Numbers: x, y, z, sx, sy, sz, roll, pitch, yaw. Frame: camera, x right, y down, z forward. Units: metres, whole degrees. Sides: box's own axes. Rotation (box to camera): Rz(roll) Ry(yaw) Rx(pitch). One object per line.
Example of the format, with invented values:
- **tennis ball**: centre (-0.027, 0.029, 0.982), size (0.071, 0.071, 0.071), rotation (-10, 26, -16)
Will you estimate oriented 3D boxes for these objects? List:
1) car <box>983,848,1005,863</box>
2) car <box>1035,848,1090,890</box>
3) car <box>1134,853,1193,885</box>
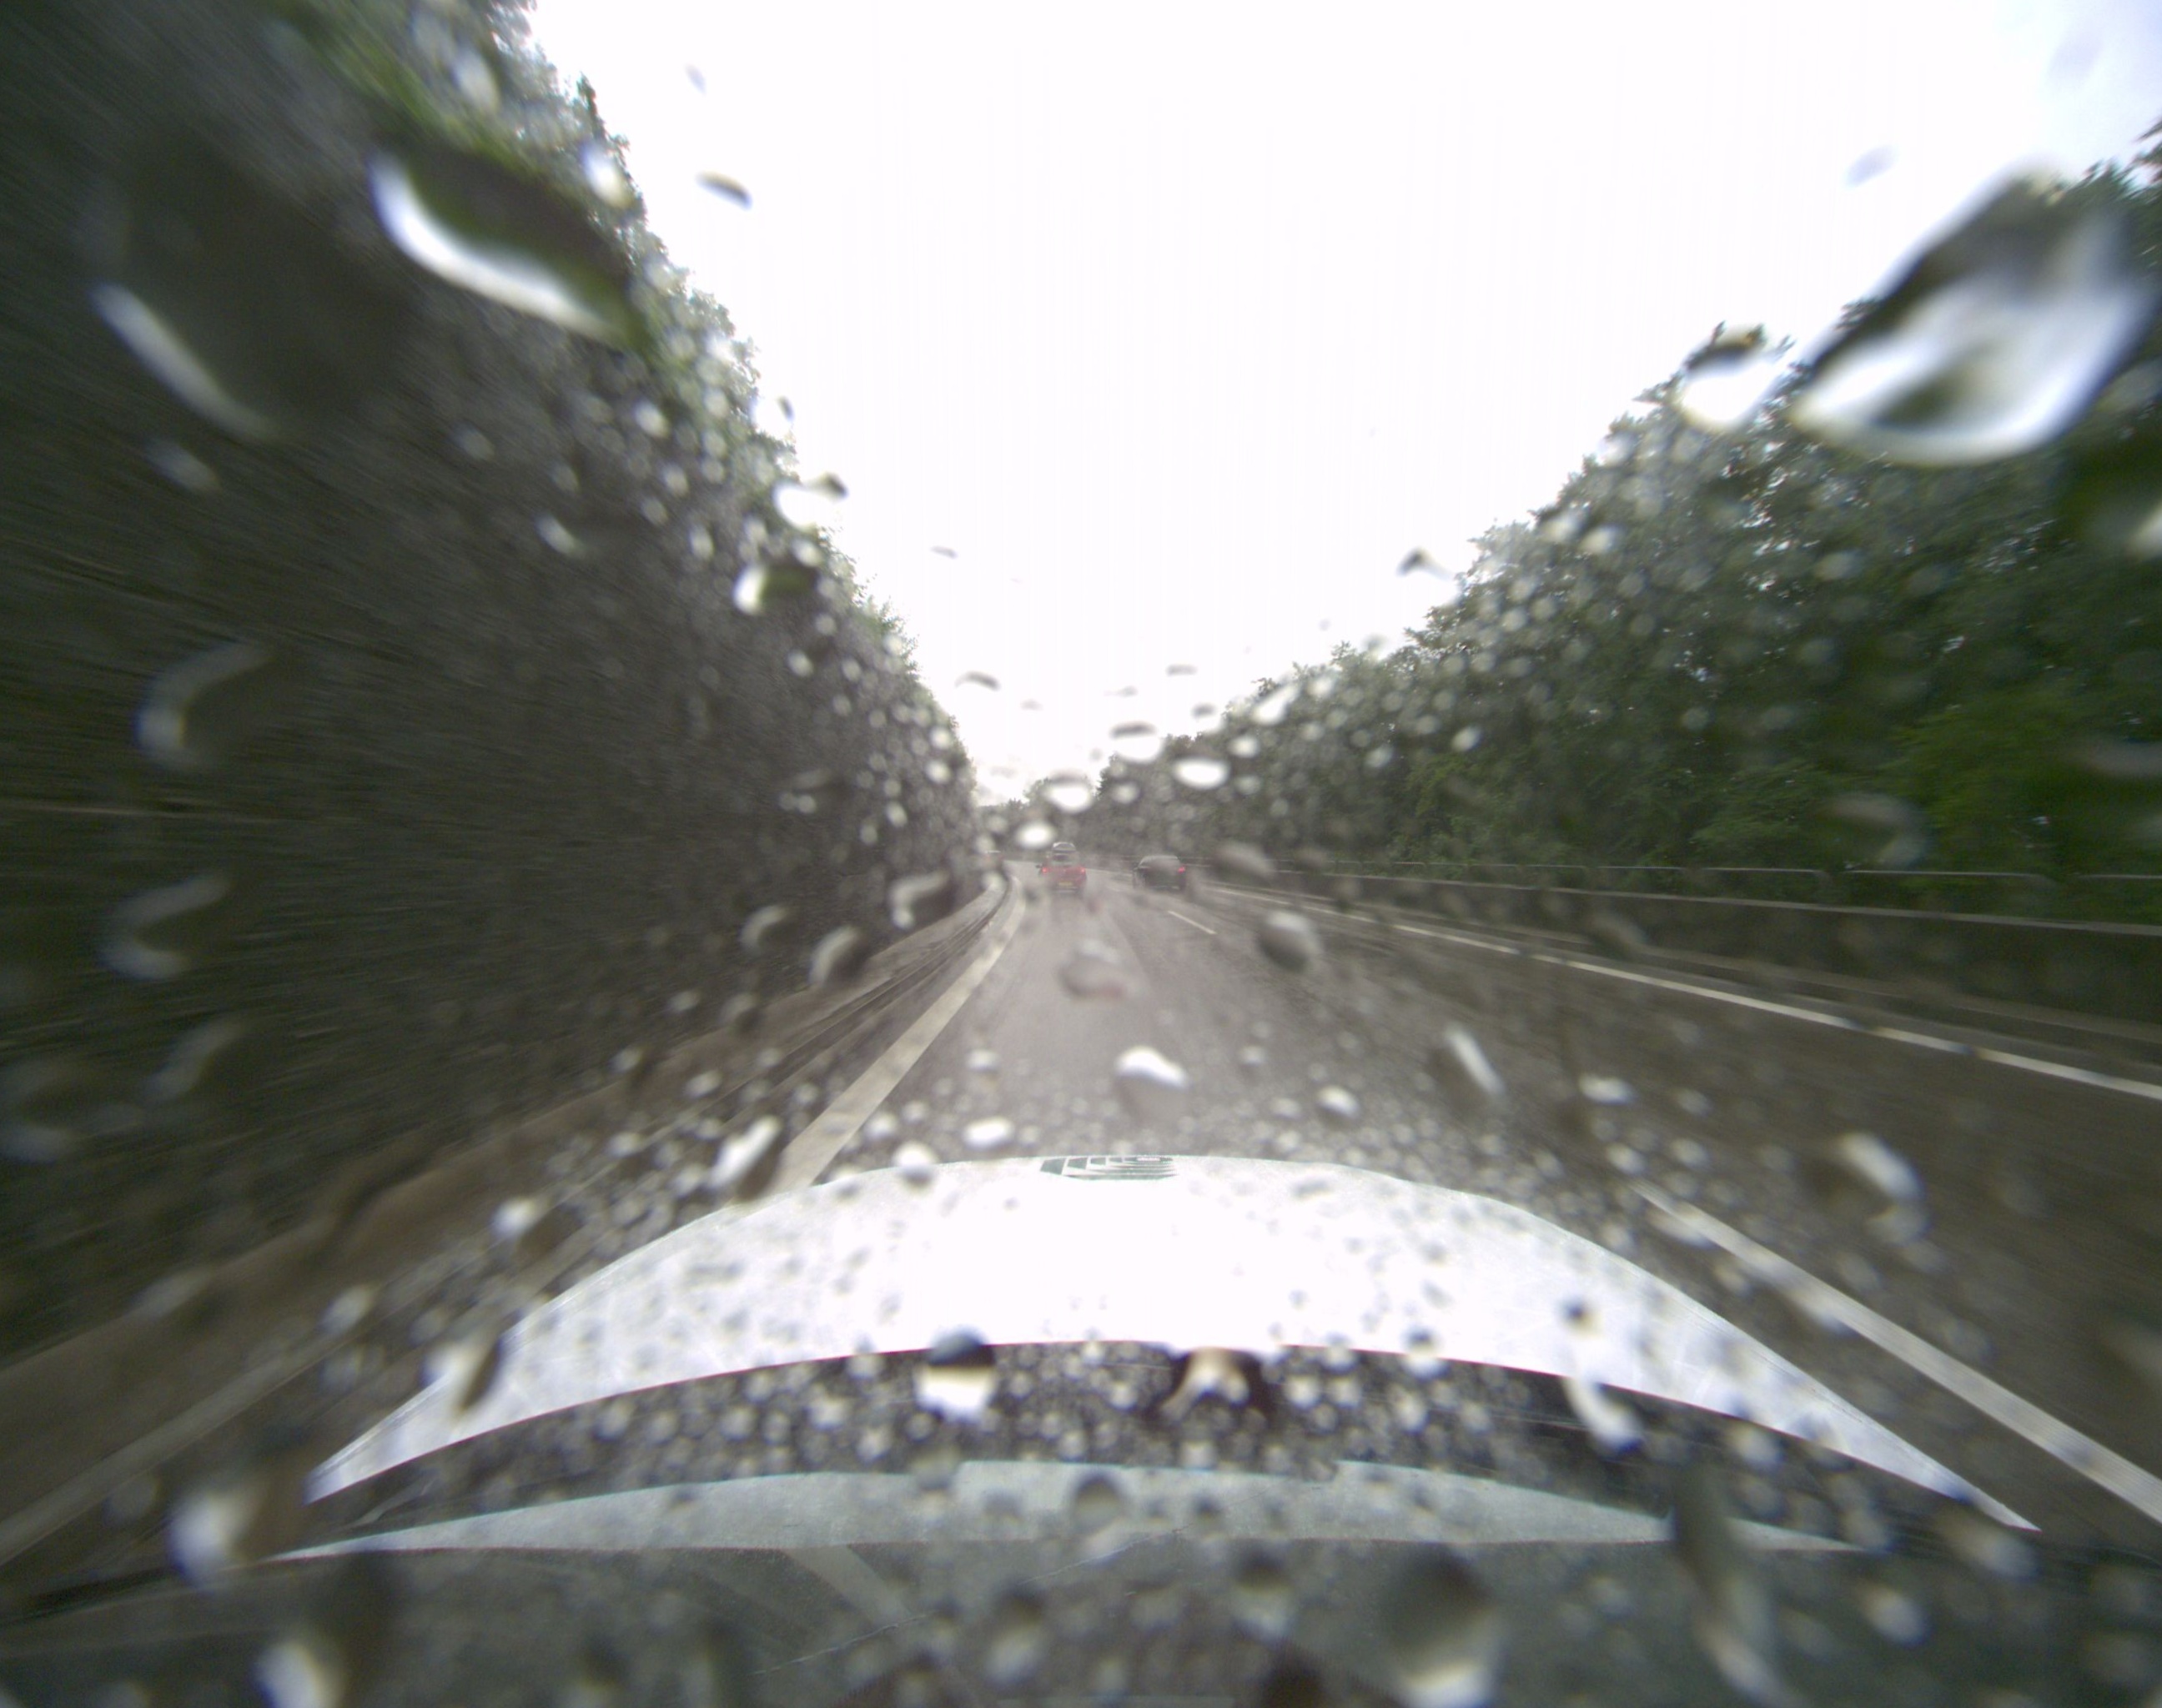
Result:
- **car**: centre (-9.667, 0.188, 90.267), size (1.996, 1.684, 3.981), rotation (1, -1, -14)
- **car**: centre (-0.793, 0.570, 32.181), size (1.990, 1.552, 3.994), rotation (0, 0, -4)
- **car**: centre (3.497, 0.647, 35.315), size (1.798, 1.308, 3.992), rotation (0, -1, -6)
